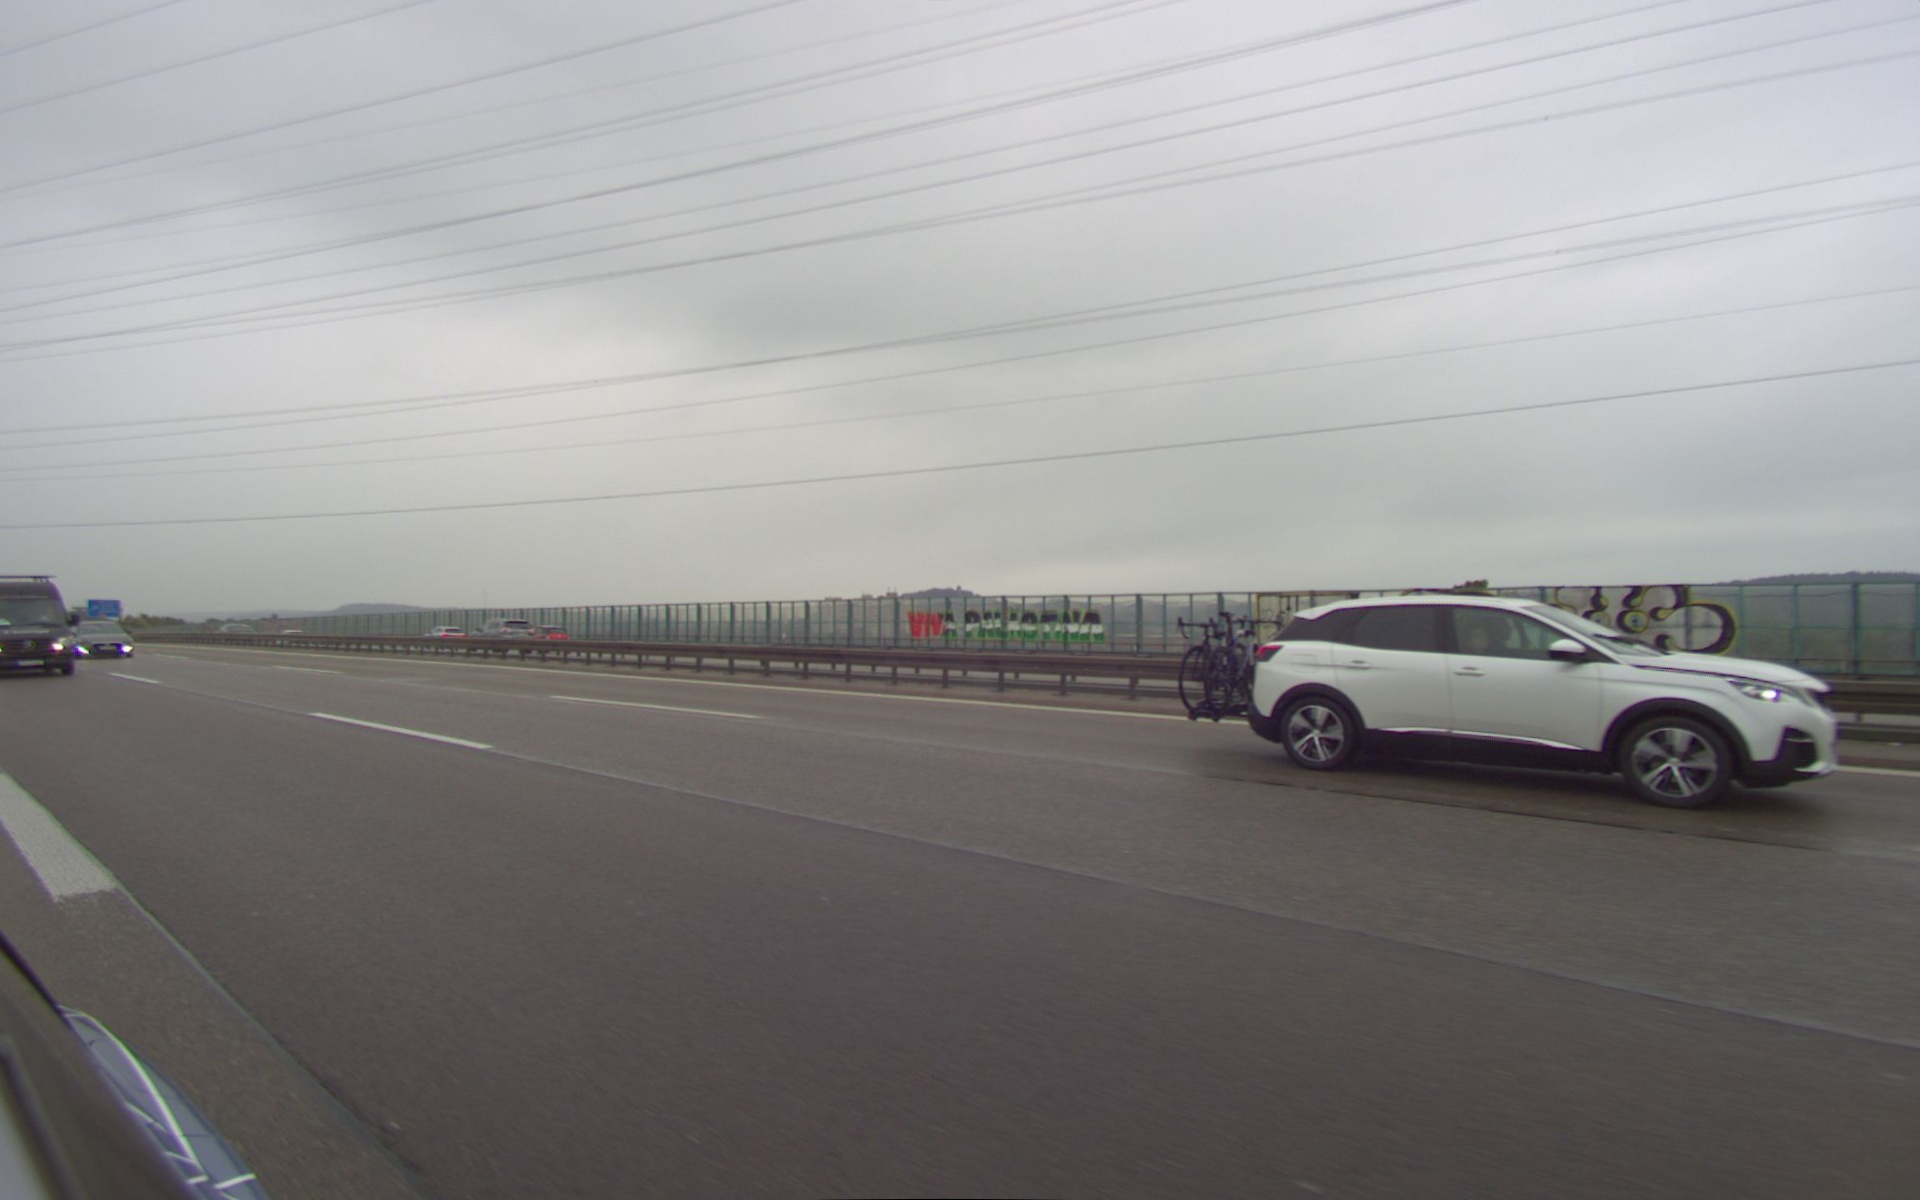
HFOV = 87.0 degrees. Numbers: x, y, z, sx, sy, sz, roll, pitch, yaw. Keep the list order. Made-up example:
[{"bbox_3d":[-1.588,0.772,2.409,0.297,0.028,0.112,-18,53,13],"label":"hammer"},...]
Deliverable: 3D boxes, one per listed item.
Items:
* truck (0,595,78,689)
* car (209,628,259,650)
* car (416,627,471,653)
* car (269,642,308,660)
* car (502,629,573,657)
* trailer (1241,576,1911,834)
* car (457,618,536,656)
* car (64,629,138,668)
[{"bbox_3d":[-26.125,1.078,27.777,6.106,2.355,1.973,0,-1,40],"label":"truck"},{"bbox_3d":[-50.724,2.716,70.714,4.466,1.441,1.822,-1,-4,41],"label":"car"},{"bbox_3d":[-37.755,2.881,73.864,4.699,1.677,1.973,-1,0,41],"label":"car"},{"bbox_3d":[-66.008,4.990,99.463,4.699,1.677,1.973,-2,-1,41],"label":"car"},{"bbox_3d":[-23.533,2.374,56.309,4.466,1.441,1.822,-1,-4,41],"label":"car"},{"bbox_3d":[4.936,0.718,8.650,4.567,1.637,1.795,-2,-1,42],"label":"trailer"},{"bbox_3d":[-22.935,1.822,49.971,4.466,1.757,1.822,-1,-4,41],"label":"car"},{"bbox_3d":[-33.862,1.898,39.847,4.829,1.413,1.706,-3,-2,44],"label":"car"}]
